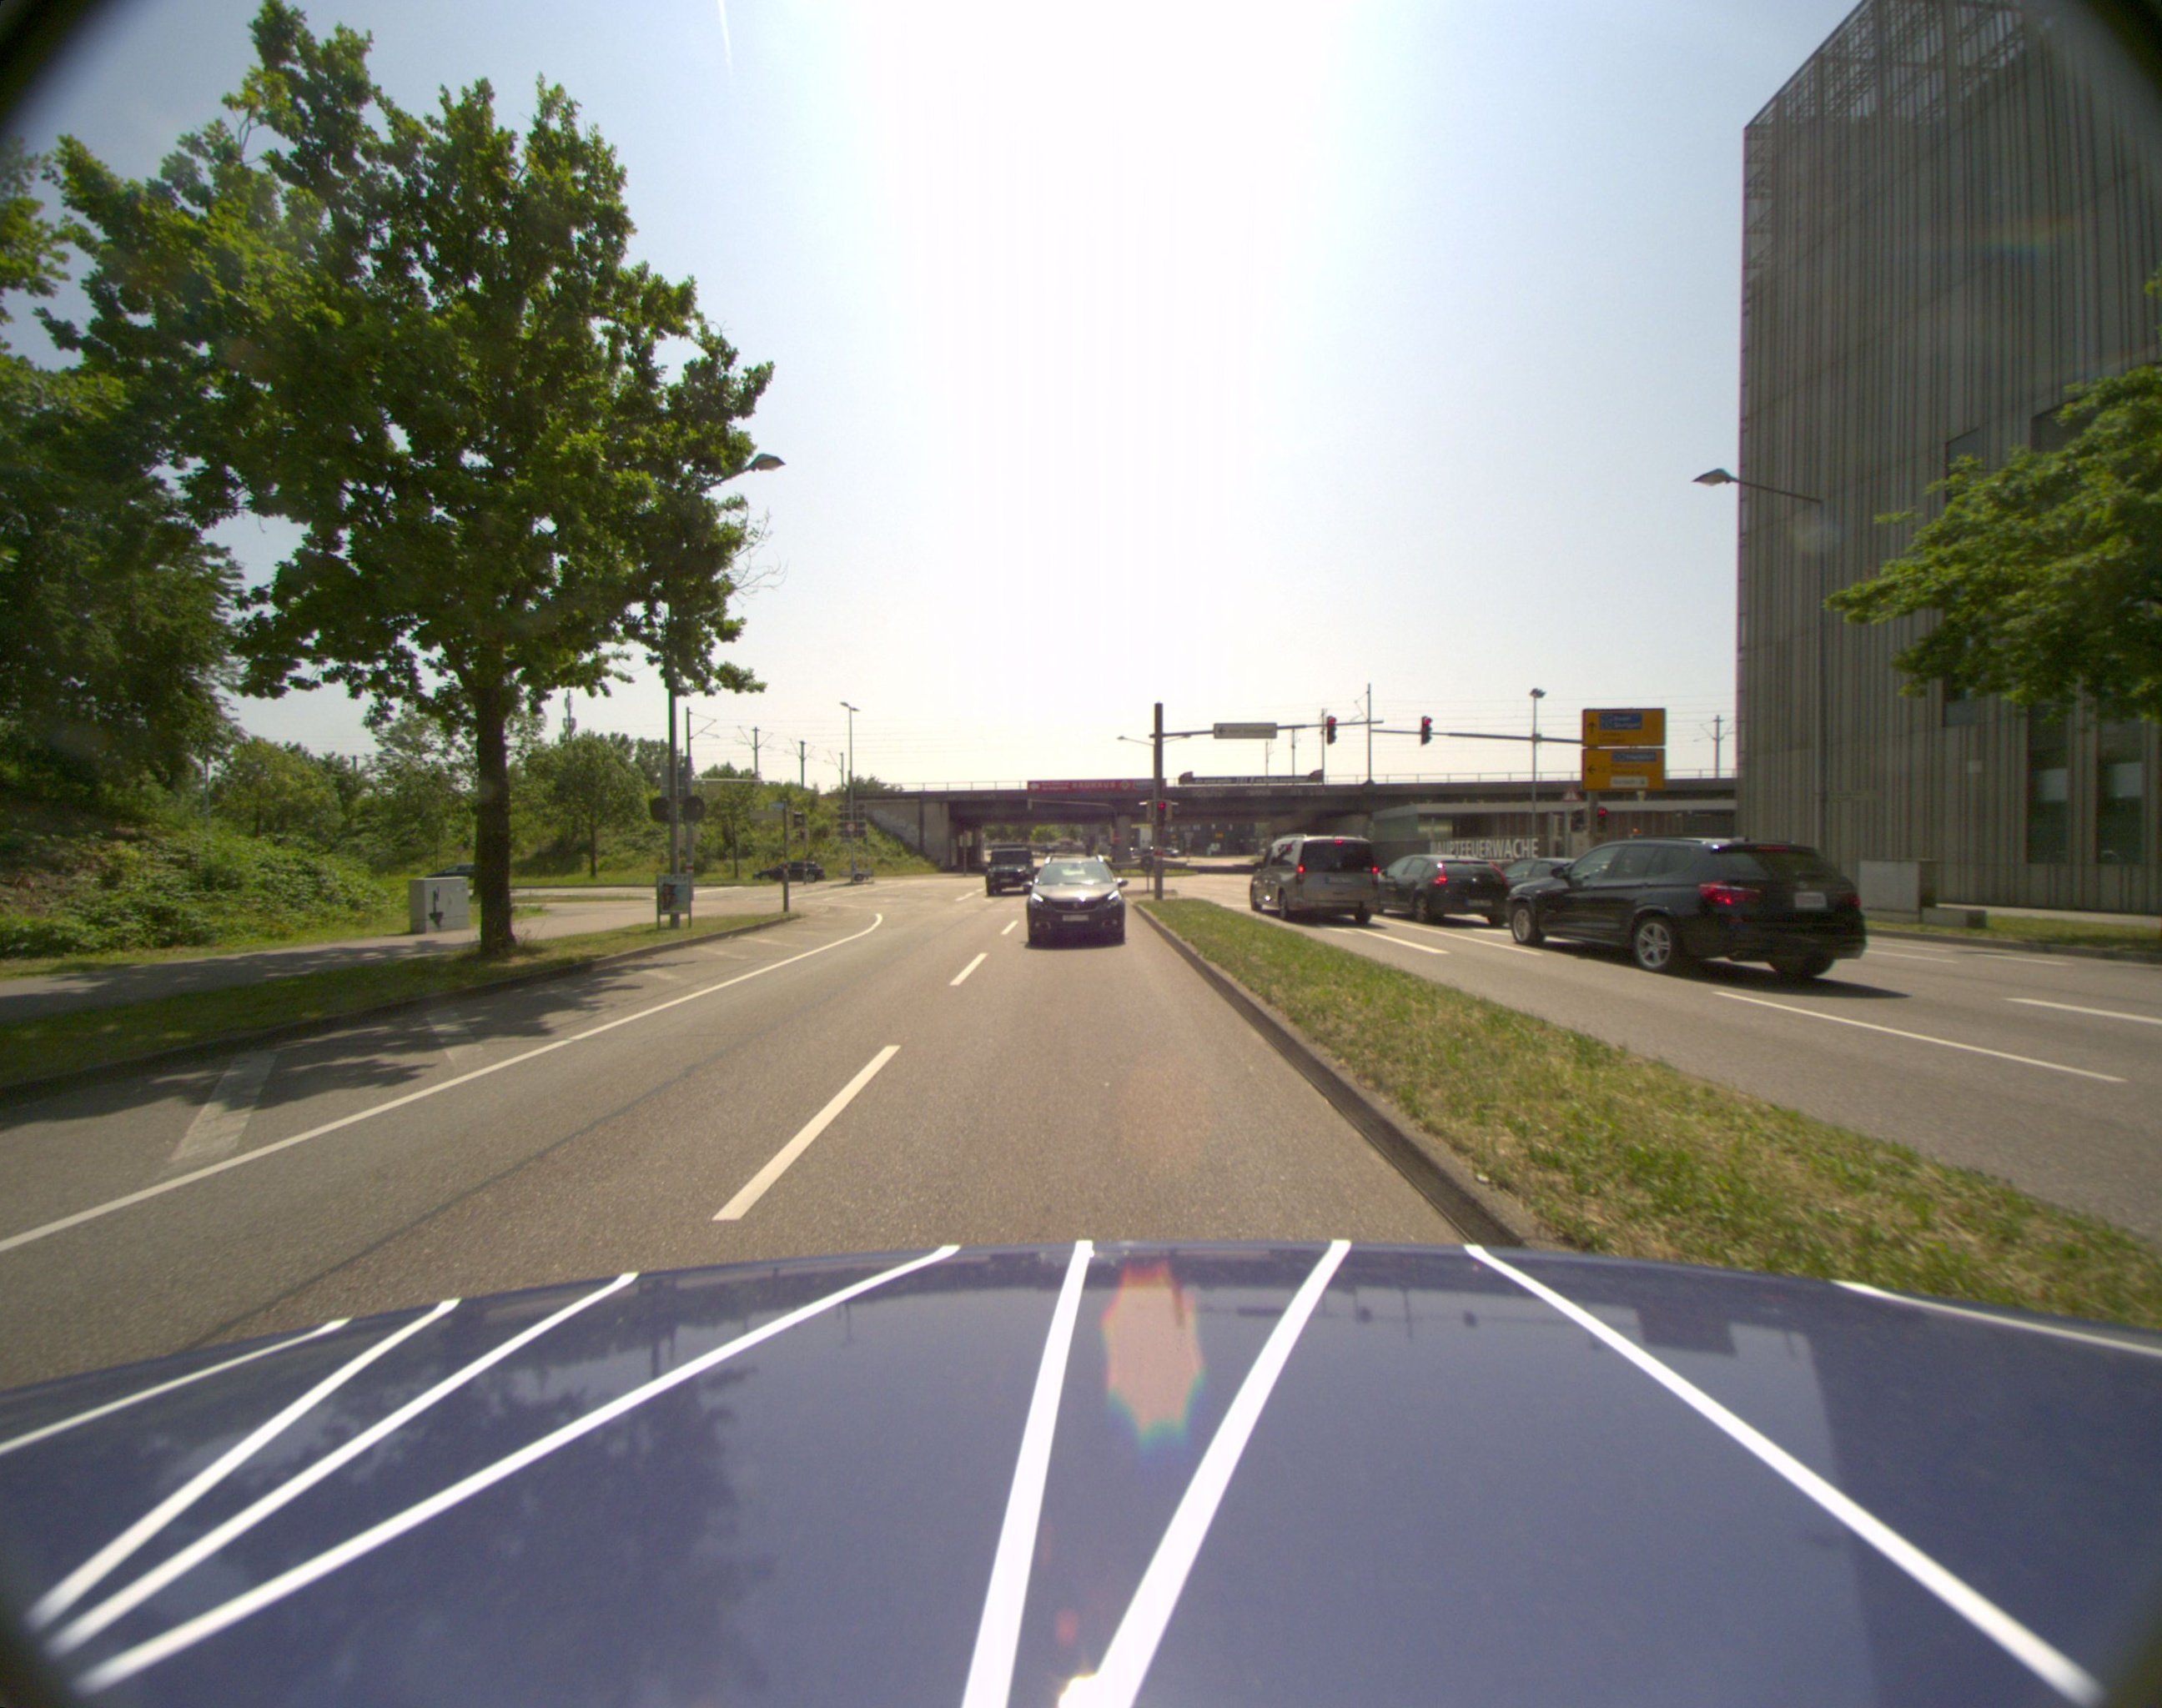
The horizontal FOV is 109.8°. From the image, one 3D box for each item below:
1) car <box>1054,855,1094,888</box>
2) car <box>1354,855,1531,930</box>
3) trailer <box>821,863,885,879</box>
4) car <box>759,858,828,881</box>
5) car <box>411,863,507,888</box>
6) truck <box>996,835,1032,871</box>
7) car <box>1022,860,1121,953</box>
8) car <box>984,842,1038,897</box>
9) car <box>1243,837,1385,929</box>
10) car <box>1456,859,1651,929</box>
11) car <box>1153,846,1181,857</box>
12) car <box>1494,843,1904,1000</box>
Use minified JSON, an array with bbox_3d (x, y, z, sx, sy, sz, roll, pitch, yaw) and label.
[{"bbox_3d":[-0.395,0.807,36.858,1.817,1.456,3.999,-1,0,-2],"label":"car"},{"bbox_3d":[7.815,0.754,16.936,1.815,1.437,4.249,0,0,-2],"label":"car"},{"bbox_3d":[-14.799,1.095,49.352,3.837,0.936,1.678,-1,0,-22],"label":"trailer"},{"bbox_3d":[-18.195,0.954,48.257,3.905,1.382,1.807,-1,0,-14],"label":"car"},{"bbox_3d":[-39.095,1.329,47.811,4.668,1.494,1.810,-1,1,5],"label":"car"},{"bbox_3d":[-5.919,-0.088,68.088,2.886,2.899,8.513,-2,0,-3],"label":"truck"},{"bbox_3d":[-0.063,0.885,14.838,1.619,1.503,4.459,-1,0,3],"label":"car"},{"bbox_3d":[-2.905,0.575,32.318,1.841,2.141,4.557,-1,1,0],"label":"car"},{"bbox_3d":[5.071,0.575,17.277,1.815,1.790,4.713,1,0,1],"label":"car"},{"bbox_3d":[10.756,0.836,17.733,1.815,1.409,4.249,0,0,-2],"label":"car"},{"bbox_3d":[13.634,-0.432,120.624,3.992,1.674,2.002,-1,1,17],"label":"car"},{"bbox_3d":[7.749,0.703,10.290,1.807,1.653,4.572,0,0,0],"label":"car"}]
